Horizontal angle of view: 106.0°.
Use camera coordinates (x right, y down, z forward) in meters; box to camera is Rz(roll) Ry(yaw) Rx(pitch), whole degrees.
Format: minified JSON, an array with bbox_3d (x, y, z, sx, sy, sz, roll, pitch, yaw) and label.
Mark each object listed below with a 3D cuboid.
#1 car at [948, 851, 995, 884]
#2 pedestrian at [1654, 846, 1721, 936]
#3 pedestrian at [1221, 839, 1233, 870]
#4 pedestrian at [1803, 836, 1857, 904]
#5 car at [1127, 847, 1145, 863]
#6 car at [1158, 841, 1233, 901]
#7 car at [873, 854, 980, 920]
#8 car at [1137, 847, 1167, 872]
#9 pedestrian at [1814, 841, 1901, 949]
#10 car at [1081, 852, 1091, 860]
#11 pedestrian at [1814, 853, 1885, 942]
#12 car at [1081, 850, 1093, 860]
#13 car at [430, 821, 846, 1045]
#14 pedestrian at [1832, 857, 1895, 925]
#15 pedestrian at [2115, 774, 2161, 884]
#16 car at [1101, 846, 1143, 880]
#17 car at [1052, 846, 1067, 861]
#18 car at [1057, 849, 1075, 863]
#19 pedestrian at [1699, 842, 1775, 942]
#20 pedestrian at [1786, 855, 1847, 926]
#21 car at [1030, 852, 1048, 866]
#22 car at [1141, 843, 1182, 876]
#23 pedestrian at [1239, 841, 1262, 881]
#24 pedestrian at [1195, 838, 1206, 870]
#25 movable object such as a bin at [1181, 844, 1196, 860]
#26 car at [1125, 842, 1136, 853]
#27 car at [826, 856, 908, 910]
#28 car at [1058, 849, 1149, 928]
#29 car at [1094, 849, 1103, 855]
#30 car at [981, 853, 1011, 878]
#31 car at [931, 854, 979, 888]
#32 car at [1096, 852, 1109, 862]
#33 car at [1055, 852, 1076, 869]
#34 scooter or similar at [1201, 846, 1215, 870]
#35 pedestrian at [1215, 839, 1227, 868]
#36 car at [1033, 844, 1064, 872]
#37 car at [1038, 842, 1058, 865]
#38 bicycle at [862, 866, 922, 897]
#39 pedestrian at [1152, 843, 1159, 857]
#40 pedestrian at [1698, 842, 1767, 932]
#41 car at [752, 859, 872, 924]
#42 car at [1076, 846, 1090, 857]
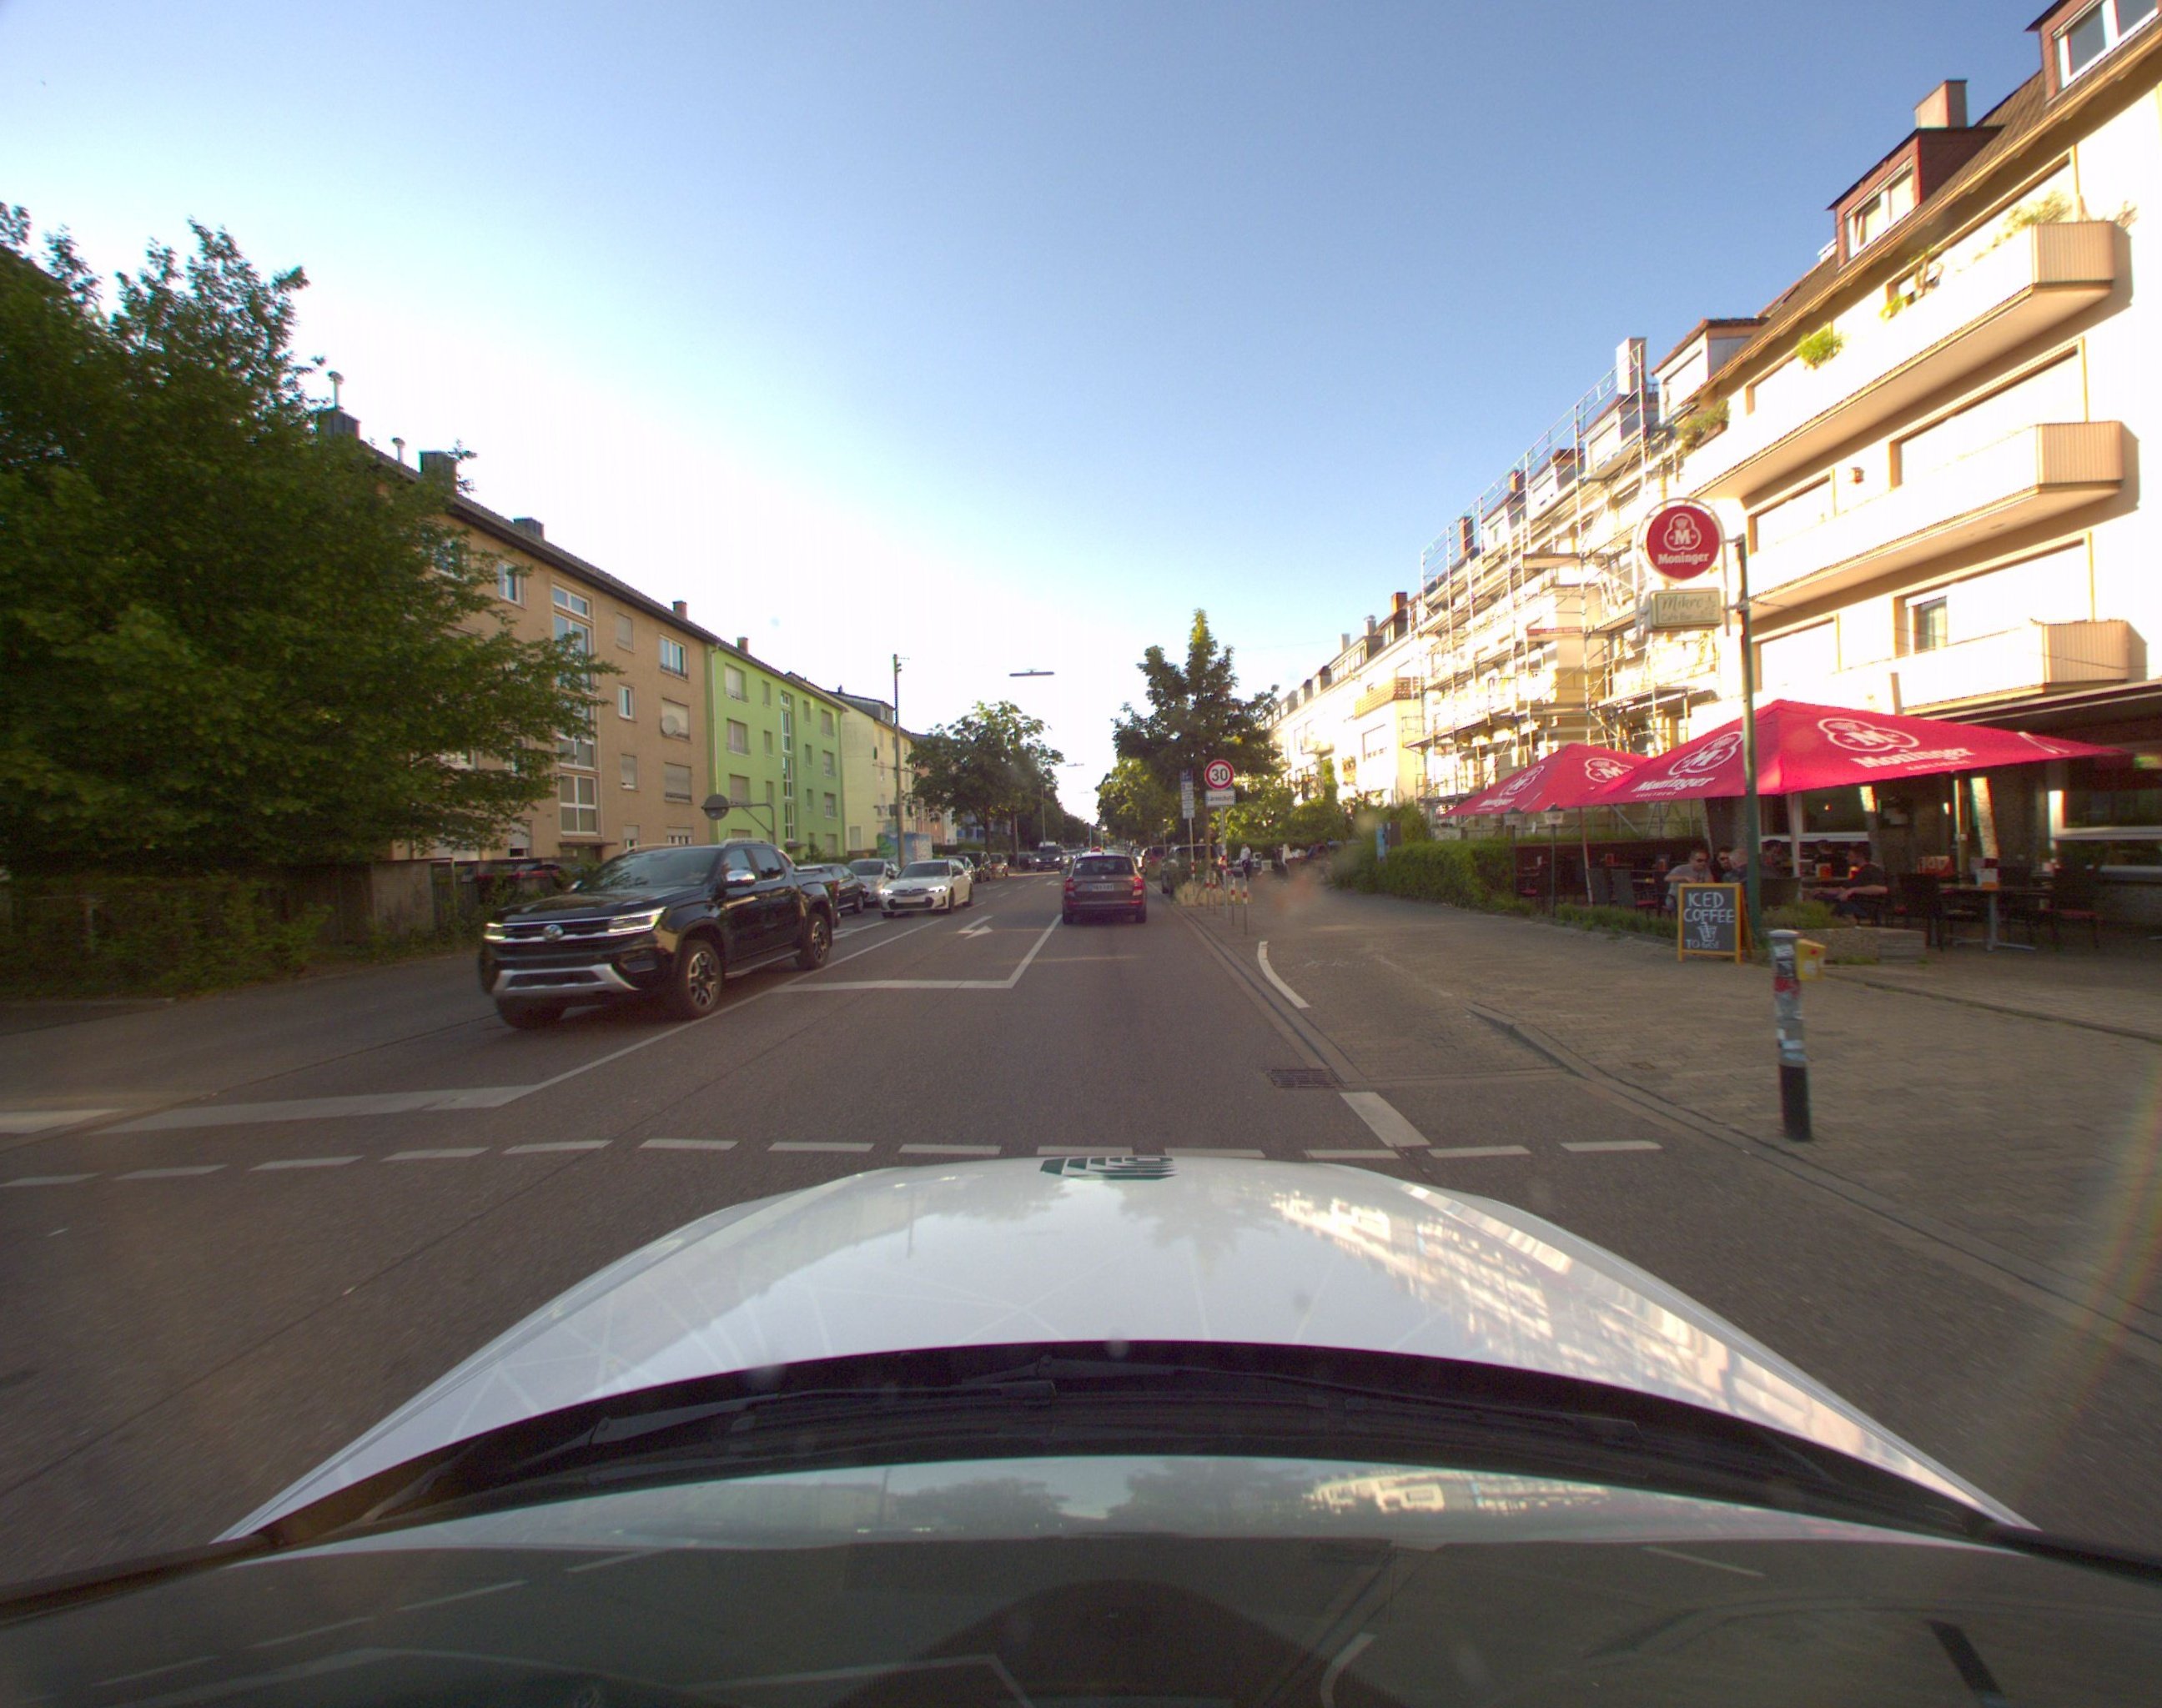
[{"bbox_3d":[-6.114,0.710,45.976,1.776,1.732,4.620,-2,0,3],"label":"car"},{"bbox_3d":[8.026,0.477,10.786,0.490,1.150,0.527,-1,0,6],"label":"pedestrian"},{"bbox_3d":[8.270,0.016,46.104,0.509,1.697,0.526,-2,0,-3],"label":"pedestrian"},{"bbox_3d":[13.277,0.286,14.445,0.521,1.189,0.414,-1,-2,7],"label":"pedestrian"},{"bbox_3d":[5.708,0.079,84.577,1.712,1.601,4.098,-2,0,2],"label":"car"},{"bbox_3d":[3.424,0.467,25.065,1.785,1.632,4.030,-2,0,1],"label":"car"},{"bbox_3d":[-4.131,0.822,22.574,1.829,1.473,4.674,-4,0,2],"label":"car"},{"bbox_3d":[4.727,0.327,54.715,1.630,1.490,4.417,-3,0,2],"label":"car"},{"bbox_3d":[9.475,0.487,9.951,0.522,1.283,0.541,-1,0,4],"label":"pedestrian"},{"bbox_3d":[1.018,0.377,166.853,1.874,1.543,4.265,-2,0,-1],"label":"car"},{"bbox_3d":[10.188,0.566,10.812,0.521,1.150,0.414,-1,0,7],"label":"pedestrian"},{"bbox_3d":[1.020,0.097,134.142,1.692,1.470,4.299,-3,0,5],"label":"car"},{"bbox_3d":[-4.617,0.678,9.712,1.855,1.829,5.229,-4,0,2],"label":"car"},{"bbox_3d":[11.772,0.551,12.263,0.521,0.991,0.414,-1,0,7],"label":"pedestrian"},{"bbox_3d":[17.631,-0.409,13.320,0.522,1.775,0.685,-1,0,2],"label":"pedestrian"},{"bbox_3d":[1.957,0.419,39.305,1.885,1.506,3.791,2,-1,1],"label":"car"},{"bbox_3d":[-3.197,-0.086,121.099,1.862,2.031,5.302,-1,0,1],"label":"car"},{"bbox_3d":[-1.717,0.206,96.748,1.825,1.470,4.453,-5,0,2],"label":"car"},{"bbox_3d":[7.872,0.444,9.795,0.410,1.150,0.633,-1,0,6],"label":"pedestrian"},{"bbox_3d":[11.138,0.551,12.344,0.521,1.049,0.414,-1,0,7],"label":"pedestrian"},{"bbox_3d":[-4.399,0.542,86.533,1.606,1.473,3.814,0,0,2],"label":"car"},{"bbox_3d":[4.352,0.252,44.507,1.716,1.655,4.596,-2,0,-1],"label":"car"},{"bbox_3d":[6.703,0.271,32.266,0.557,1.568,0.744,-2,0,-16],"label":"pedestrian"},{"bbox_3d":[6.905,-0.013,47.076,0.545,1.849,0.766,-2,0,9],"label":"pedestrian"},{"bbox_3d":[10.642,-0.186,80.537,1.259,1.492,1.143,-4,0,12],"label":"movable object such as a bin"},{"bbox_3d":[8.182,-1.109,134.016,1.746,1.686,4.256,-1,0,4],"label":"car"},{"bbox_3d":[-6.884,0.882,26.565,1.632,1.552,3.785,-2,0,-1],"label":"car"},{"bbox_3d":[0.561,0.654,17.715,1.746,1.492,4.004,-1,0,4],"label":"car"},{"bbox_3d":[4.876,-0.536,228.395,1.989,1.750,3.995,-2,0,-3],"label":"car"},{"bbox_3d":[-5.729,0.756,55.140,1.492,1.616,2.865,-2,0,5],"label":"car"},{"bbox_3d":[-6.306,0.819,41.113,1.677,1.521,4.191,-2,0,0],"label":"car"},{"bbox_3d":[3.341,0.423,127.518,1.776,1.480,3.969,-1,0,-1],"label":"car"},{"bbox_3d":[-1.494,0.584,78.679,1.809,1.446,4.111,-4,0,1],"label":"car"},{"bbox_3d":[7.311,0.237,47.020,0.742,1.317,0.723,-2,0,8],"label":"scooter or similar"},{"bbox_3d":[8.097,-0.027,47.135,0.509,1.697,0.526,-2,0,-3],"label":"pedestrian"},{"bbox_3d":[-2.472,0.261,63.488,1.986,1.946,4.780,-4,0,2],"label":"car"},{"bbox_3d":[-3.931,-0.097,97.945,1.986,2.616,7.108,-1,0,2],"label":"car"},{"bbox_3d":[-6.860,0.992,29.617,1.997,1.089,0.584,2,-1,2],"label":"bicycle"},{"bbox_3d":[10.043,-0.549,109.478,0.746,1.861,1.068,-3,0,1],"label":"pedestrian"},{"bbox_3d":[8.630,0.425,10.798,0.483,1.150,0.527,-1,0,6],"label":"pedestrian"},{"bbox_3d":[-7.028,0.920,21.694,1.646,1.479,3.947,-2,0,3],"label":"car"},{"bbox_3d":[0.342,-0.334,109.128,1.694,1.403,4.029,-4,0,2],"label":"car"}]
